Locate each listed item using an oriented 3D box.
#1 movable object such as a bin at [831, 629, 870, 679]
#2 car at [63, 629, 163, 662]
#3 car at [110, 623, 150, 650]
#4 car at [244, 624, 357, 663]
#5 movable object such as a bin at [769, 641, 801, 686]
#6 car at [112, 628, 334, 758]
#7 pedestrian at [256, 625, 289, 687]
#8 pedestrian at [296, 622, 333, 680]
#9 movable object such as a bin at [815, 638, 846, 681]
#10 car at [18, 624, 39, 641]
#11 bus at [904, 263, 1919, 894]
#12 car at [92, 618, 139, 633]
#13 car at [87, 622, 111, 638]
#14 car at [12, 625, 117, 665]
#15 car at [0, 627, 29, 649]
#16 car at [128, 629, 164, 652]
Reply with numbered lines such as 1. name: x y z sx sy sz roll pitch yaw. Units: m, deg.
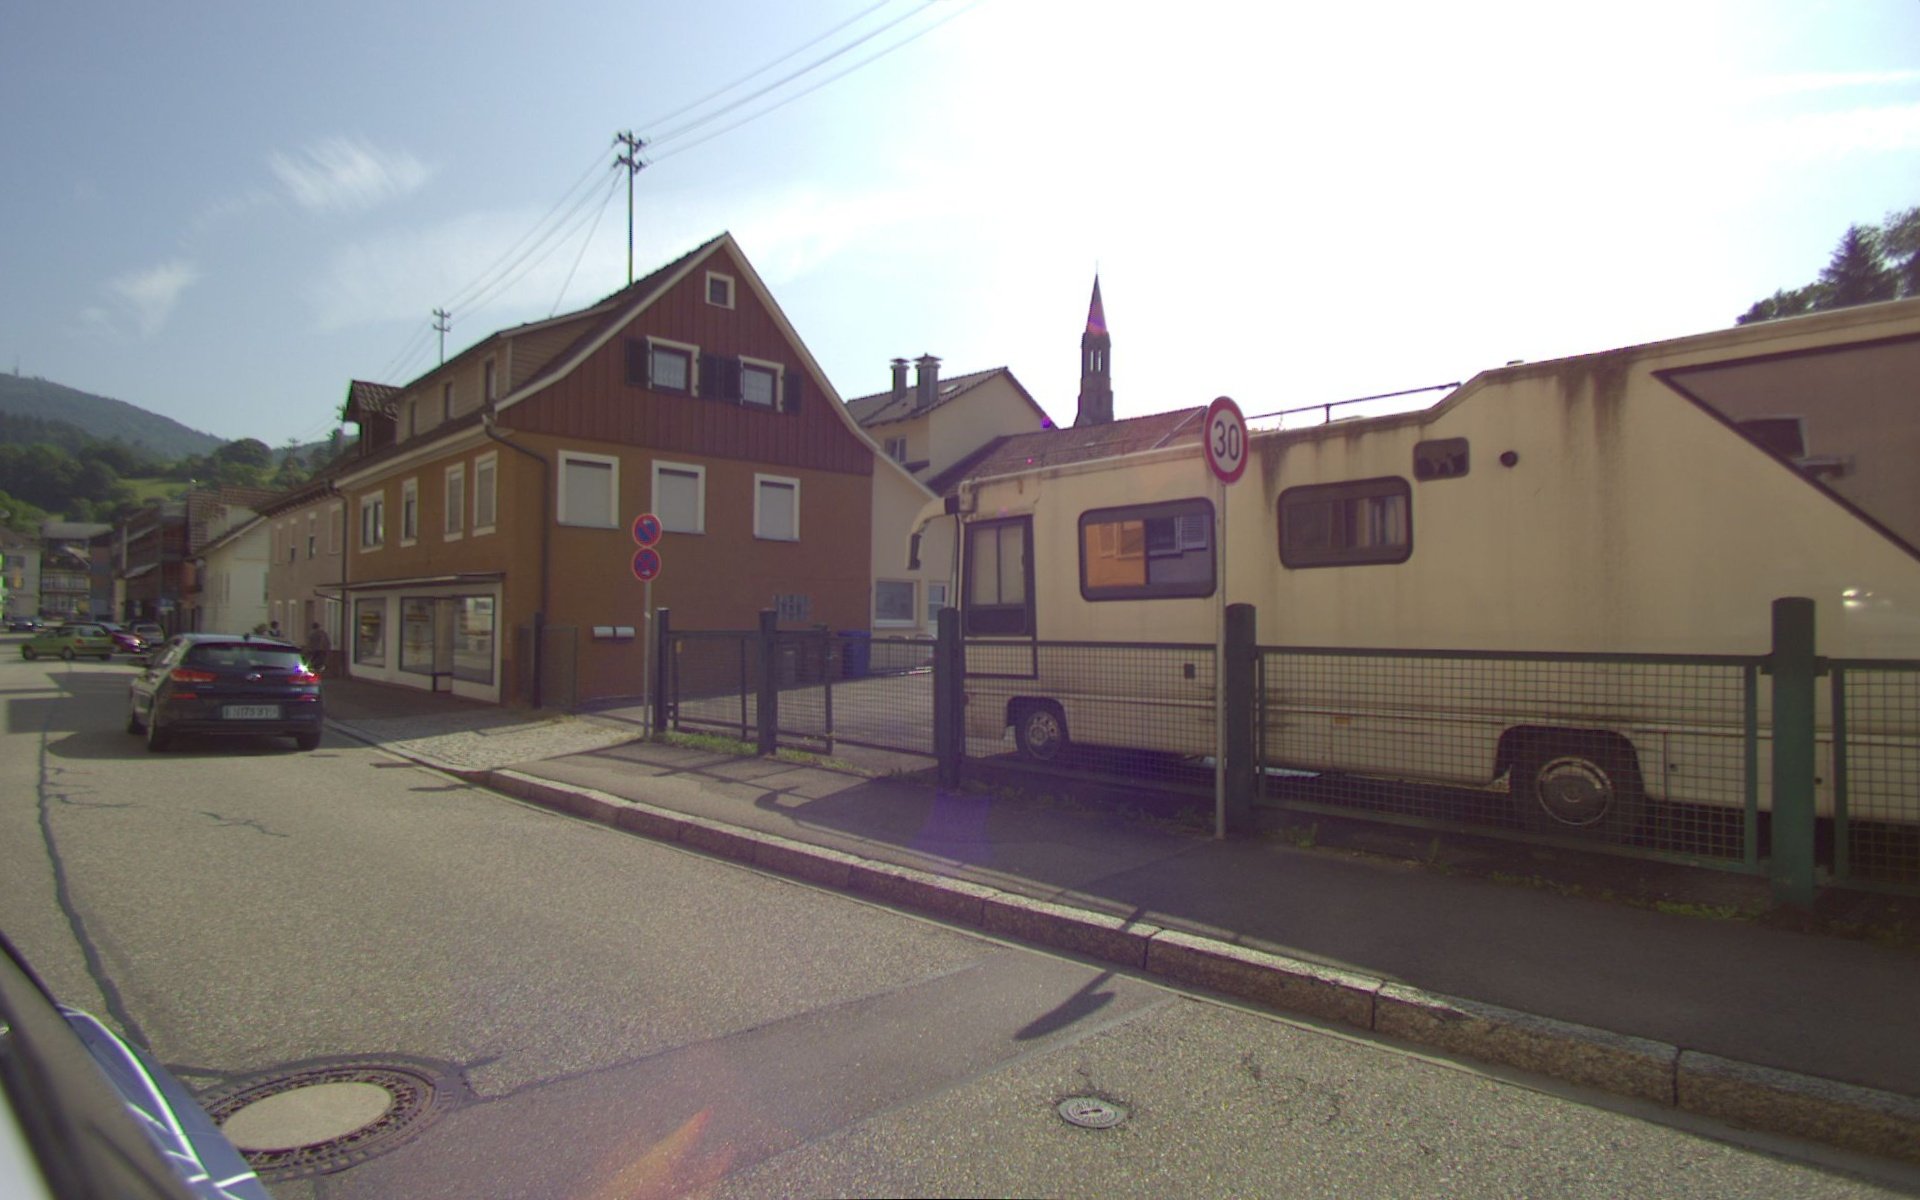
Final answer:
1. movable object such as a bin: -2.470 1.207 22.839 0.537 1.102 0.745 0 -1 -42
2. car: -45.066 2.429 53.903 3.950 1.675 1.820 -1 -3 6
3. car: -57.453 2.516 70.052 1.700 1.810 4.271 2 -3 -45
4. car: -29.234 1.883 44.920 3.941 1.606 1.908 0 -2 -45
5. movable object such as a bin: -3.736 1.351 21.557 0.472 0.929 0.486 0 -1 -43
6. car: -9.973 1.175 13.579 1.727 1.464 4.030 7 -6 -44
7. pedestrian: -18.678 1.512 27.495 0.631 1.638 0.778 -1 -1 -41
8. pedestrian: -18.001 1.411 28.209 0.726 1.576 0.825 -1 -1 -42
9. movable object such as a bin: -2.862 1.305 22.319 0.472 0.929 0.486 0 -1 -43
10. car: -112.987 3.954 122.755 3.841 2.029 1.718 -2 -2 45
11. bus: 3.602 -0.056 8.568 2.788 3.252 9.040 -1 0 -45
12. car: -98.556 3.024 118.101 1.832 1.697 3.948 -3 -4 38
13. car: -93.755 3.240 110.132 1.761 1.587 3.892 -2 0 -43
14. car: -37.824 1.905 42.766 3.628 1.475 1.593 1 -4 17
15. car: -92.988 3.710 99.308 3.999 2.029 1.972 -1 -1 42
16. car: -53.529 2.655 66.555 1.646 1.443 3.573 0 -2 -42
